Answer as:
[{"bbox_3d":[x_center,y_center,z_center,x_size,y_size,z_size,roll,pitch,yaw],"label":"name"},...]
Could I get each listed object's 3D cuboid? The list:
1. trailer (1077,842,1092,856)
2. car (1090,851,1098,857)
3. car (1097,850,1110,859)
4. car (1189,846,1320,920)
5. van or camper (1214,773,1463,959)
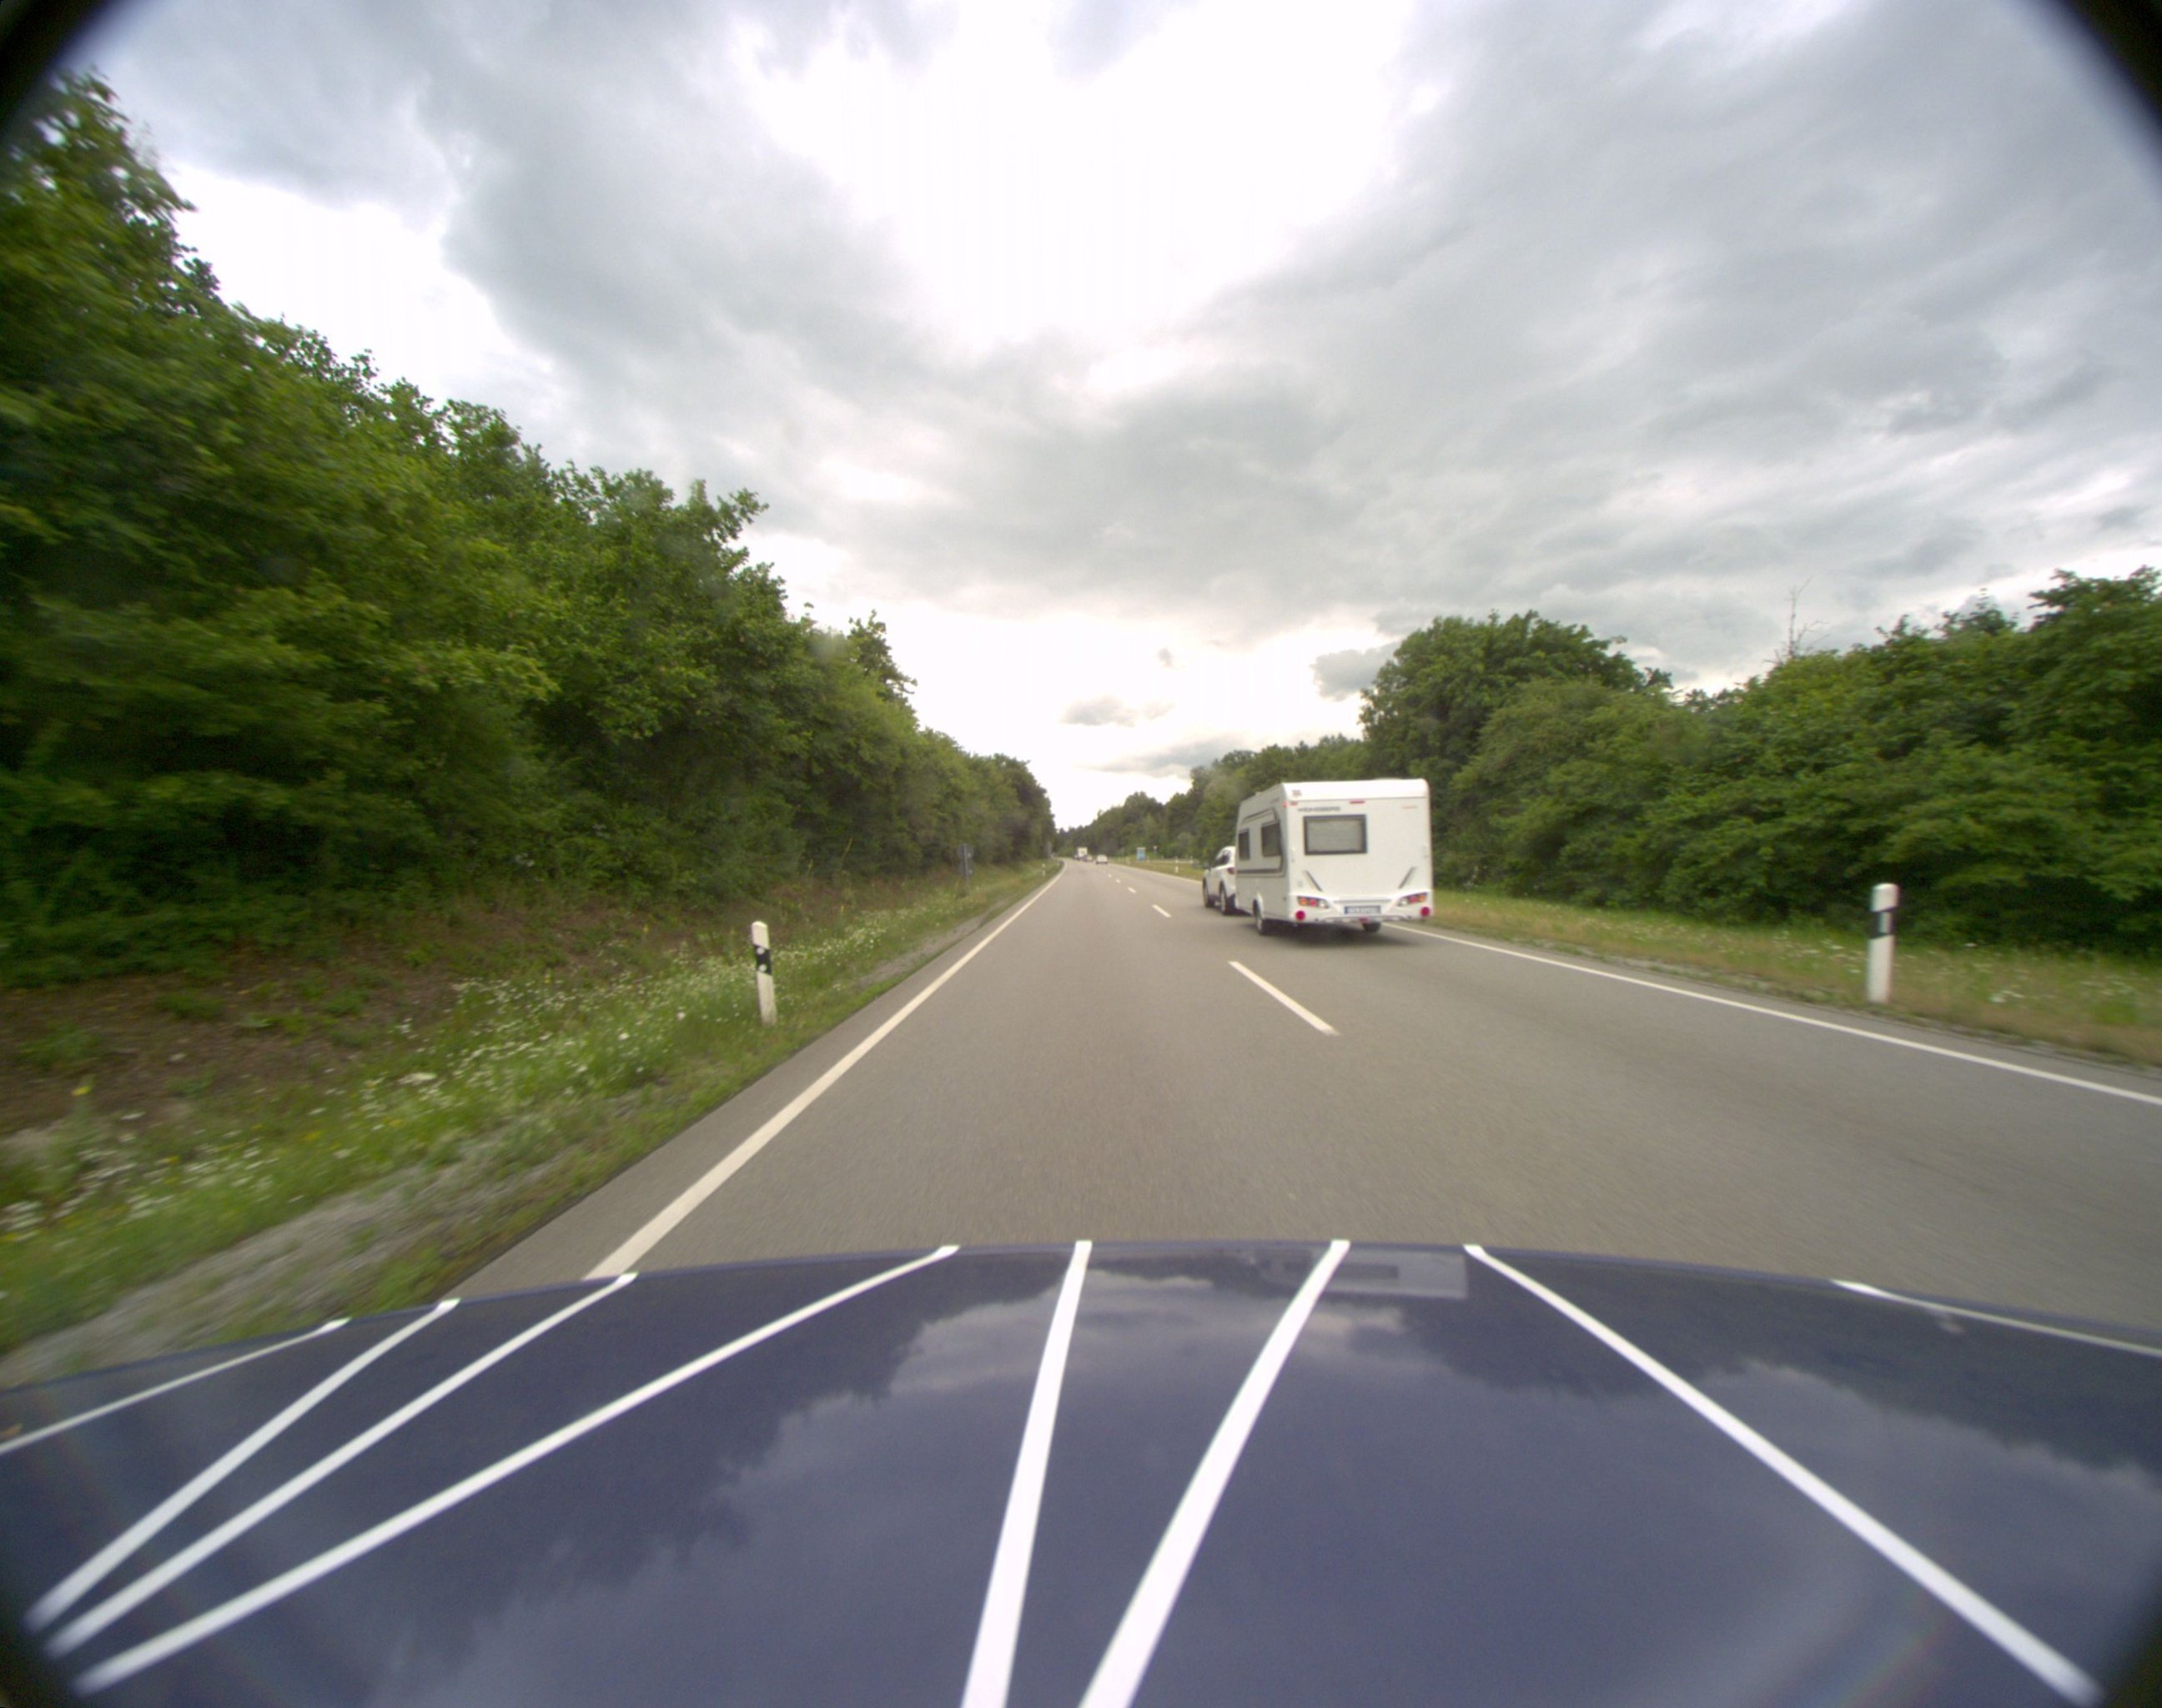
[{"bbox_3d":[0.903,-1.525,230.532,3.213,4.043,14.264,-2,0,-5],"label":"trailer"},{"bbox_3d":[2.940,-0.011,175.762,1.730,1.426,4.502,-2,0,-1],"label":"car"},{"bbox_3d":[3.978,0.078,134.434,1.969,1.565,5.451,-2,0,0],"label":"car"},{"bbox_3d":[4.238,0.637,19.448,2.284,1.594,4.691,-2,0,0],"label":"car"},{"bbox_3d":[4.213,0.148,13.933,2.386,2.560,6.279,-2,1,0],"label":"van or camper"}]
